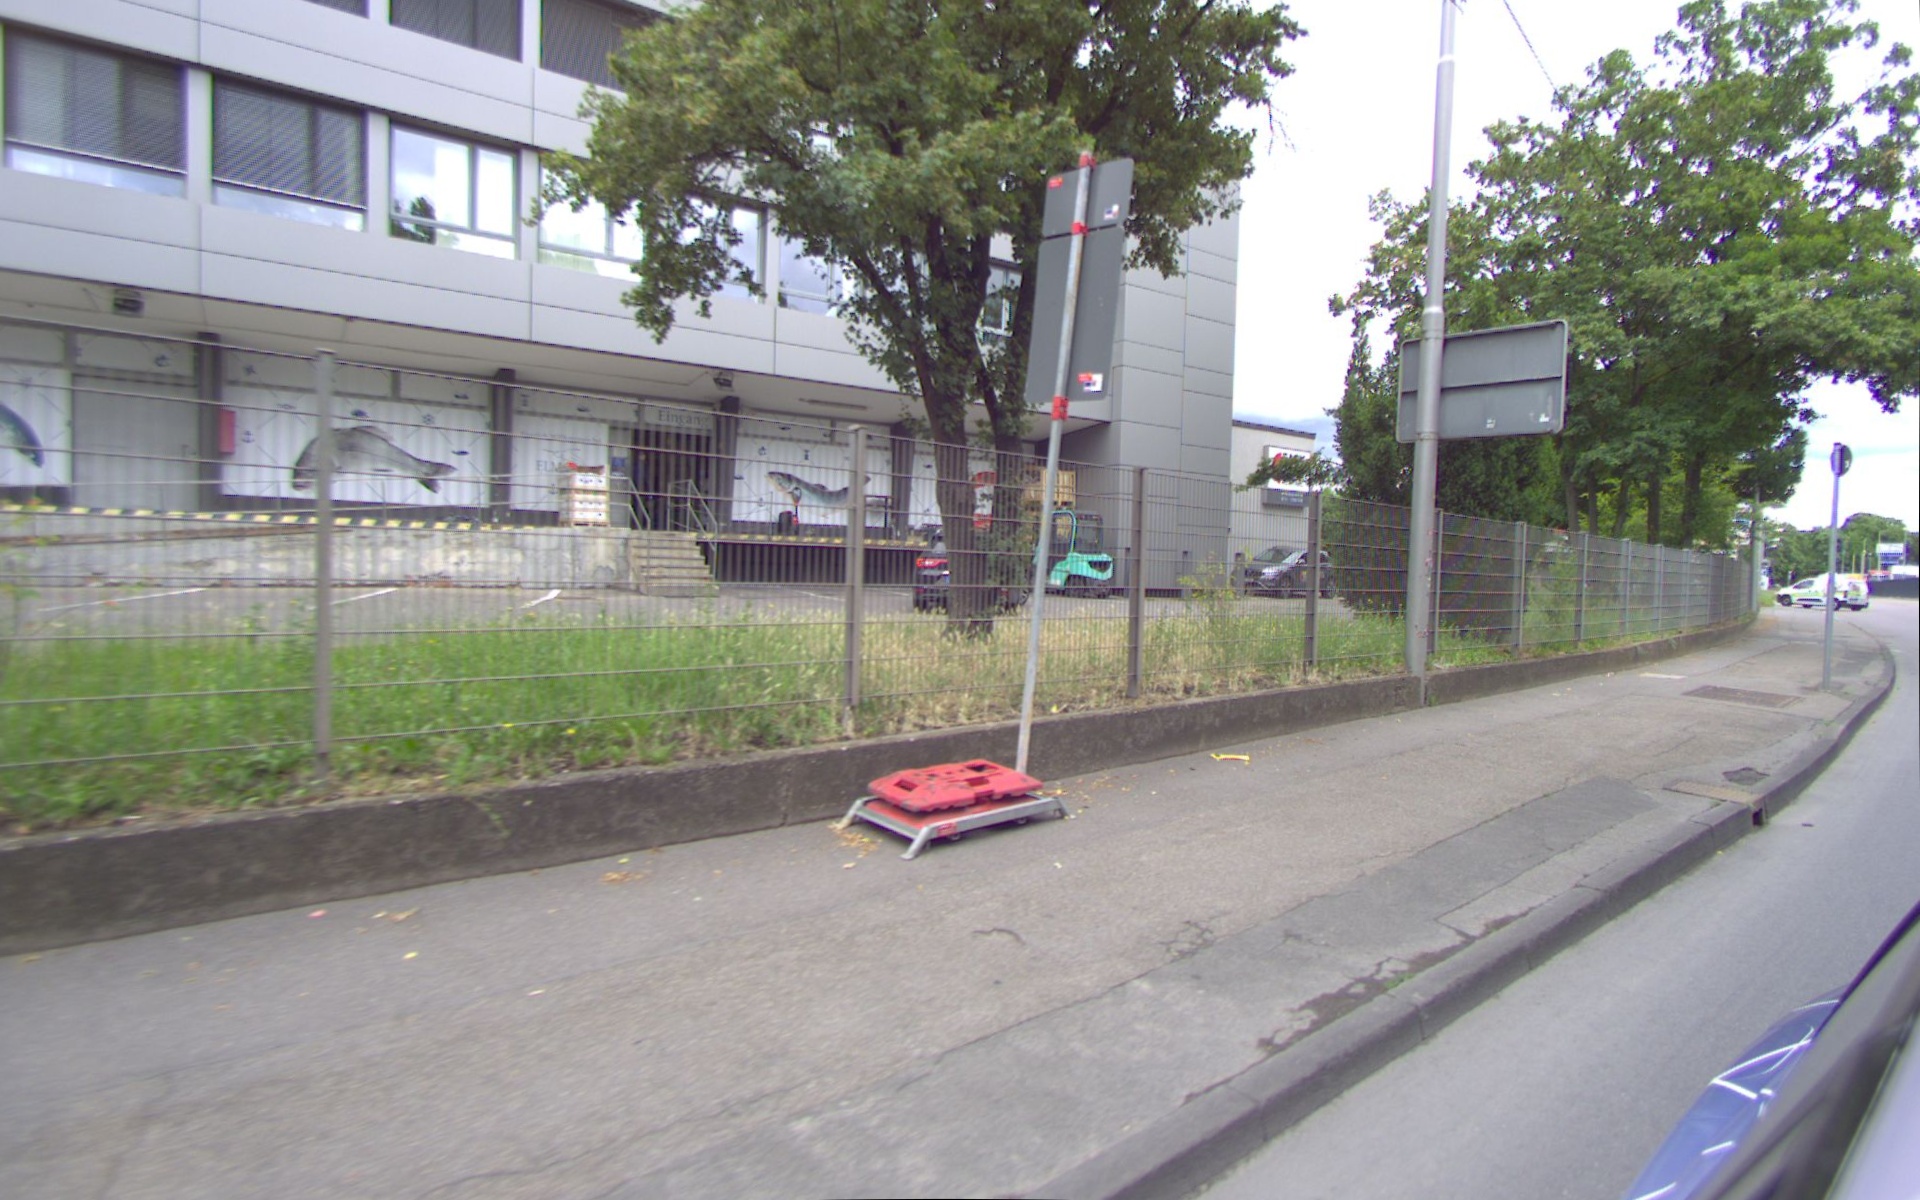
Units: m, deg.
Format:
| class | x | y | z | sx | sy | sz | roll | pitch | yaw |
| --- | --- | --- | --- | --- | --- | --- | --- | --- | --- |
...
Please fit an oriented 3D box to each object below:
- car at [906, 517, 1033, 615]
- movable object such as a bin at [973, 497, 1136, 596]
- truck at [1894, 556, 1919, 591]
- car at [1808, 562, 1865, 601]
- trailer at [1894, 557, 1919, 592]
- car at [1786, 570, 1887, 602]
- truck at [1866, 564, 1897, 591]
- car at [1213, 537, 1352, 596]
| class | x | y | z | sx | sy | sz | roll | pitch | yaw |
| --- | --- | --- | --- | --- | --- | --- | --- | --- | --- |
| car | 0.220 | -0.670 | 18.398 | 1.963 | 1.491 | 4.694 | 2 | 3 | 2 |
| movable object such as a bin | 2.363 | -1.372 | 26.078 | 1.916 | 2.333 | 3.999 | 0 | 3 | -38 |
| truck | 119.503 | -3.233 | 126.724 | 3.360 | 4.210 | 5.540 | 5 | 4 | 43 |
| car | 87.873 | -1.827 | 101.615 | 3.321 | 3.652 | 8.559 | 3 | 2 | 35 |
| trailer | 124.147 | -3.268 | 131.814 | 3.360 | 4.210 | 13.635 | 5 | 4 | 42 |
| car | 50.370 | -0.826 | 58.263 | 1.776 | 1.786 | 4.213 | 0 | 1 | -10 |
| truck | 140.870 | -3.408 | 154.756 | 3.011 | 3.895 | 5.590 | 5 | 4 | 39 |
| car | 10.259 | -1.053 | 32.093 | 4.359 | 1.585 | 2.001 | 1 | 4 | -38 |
